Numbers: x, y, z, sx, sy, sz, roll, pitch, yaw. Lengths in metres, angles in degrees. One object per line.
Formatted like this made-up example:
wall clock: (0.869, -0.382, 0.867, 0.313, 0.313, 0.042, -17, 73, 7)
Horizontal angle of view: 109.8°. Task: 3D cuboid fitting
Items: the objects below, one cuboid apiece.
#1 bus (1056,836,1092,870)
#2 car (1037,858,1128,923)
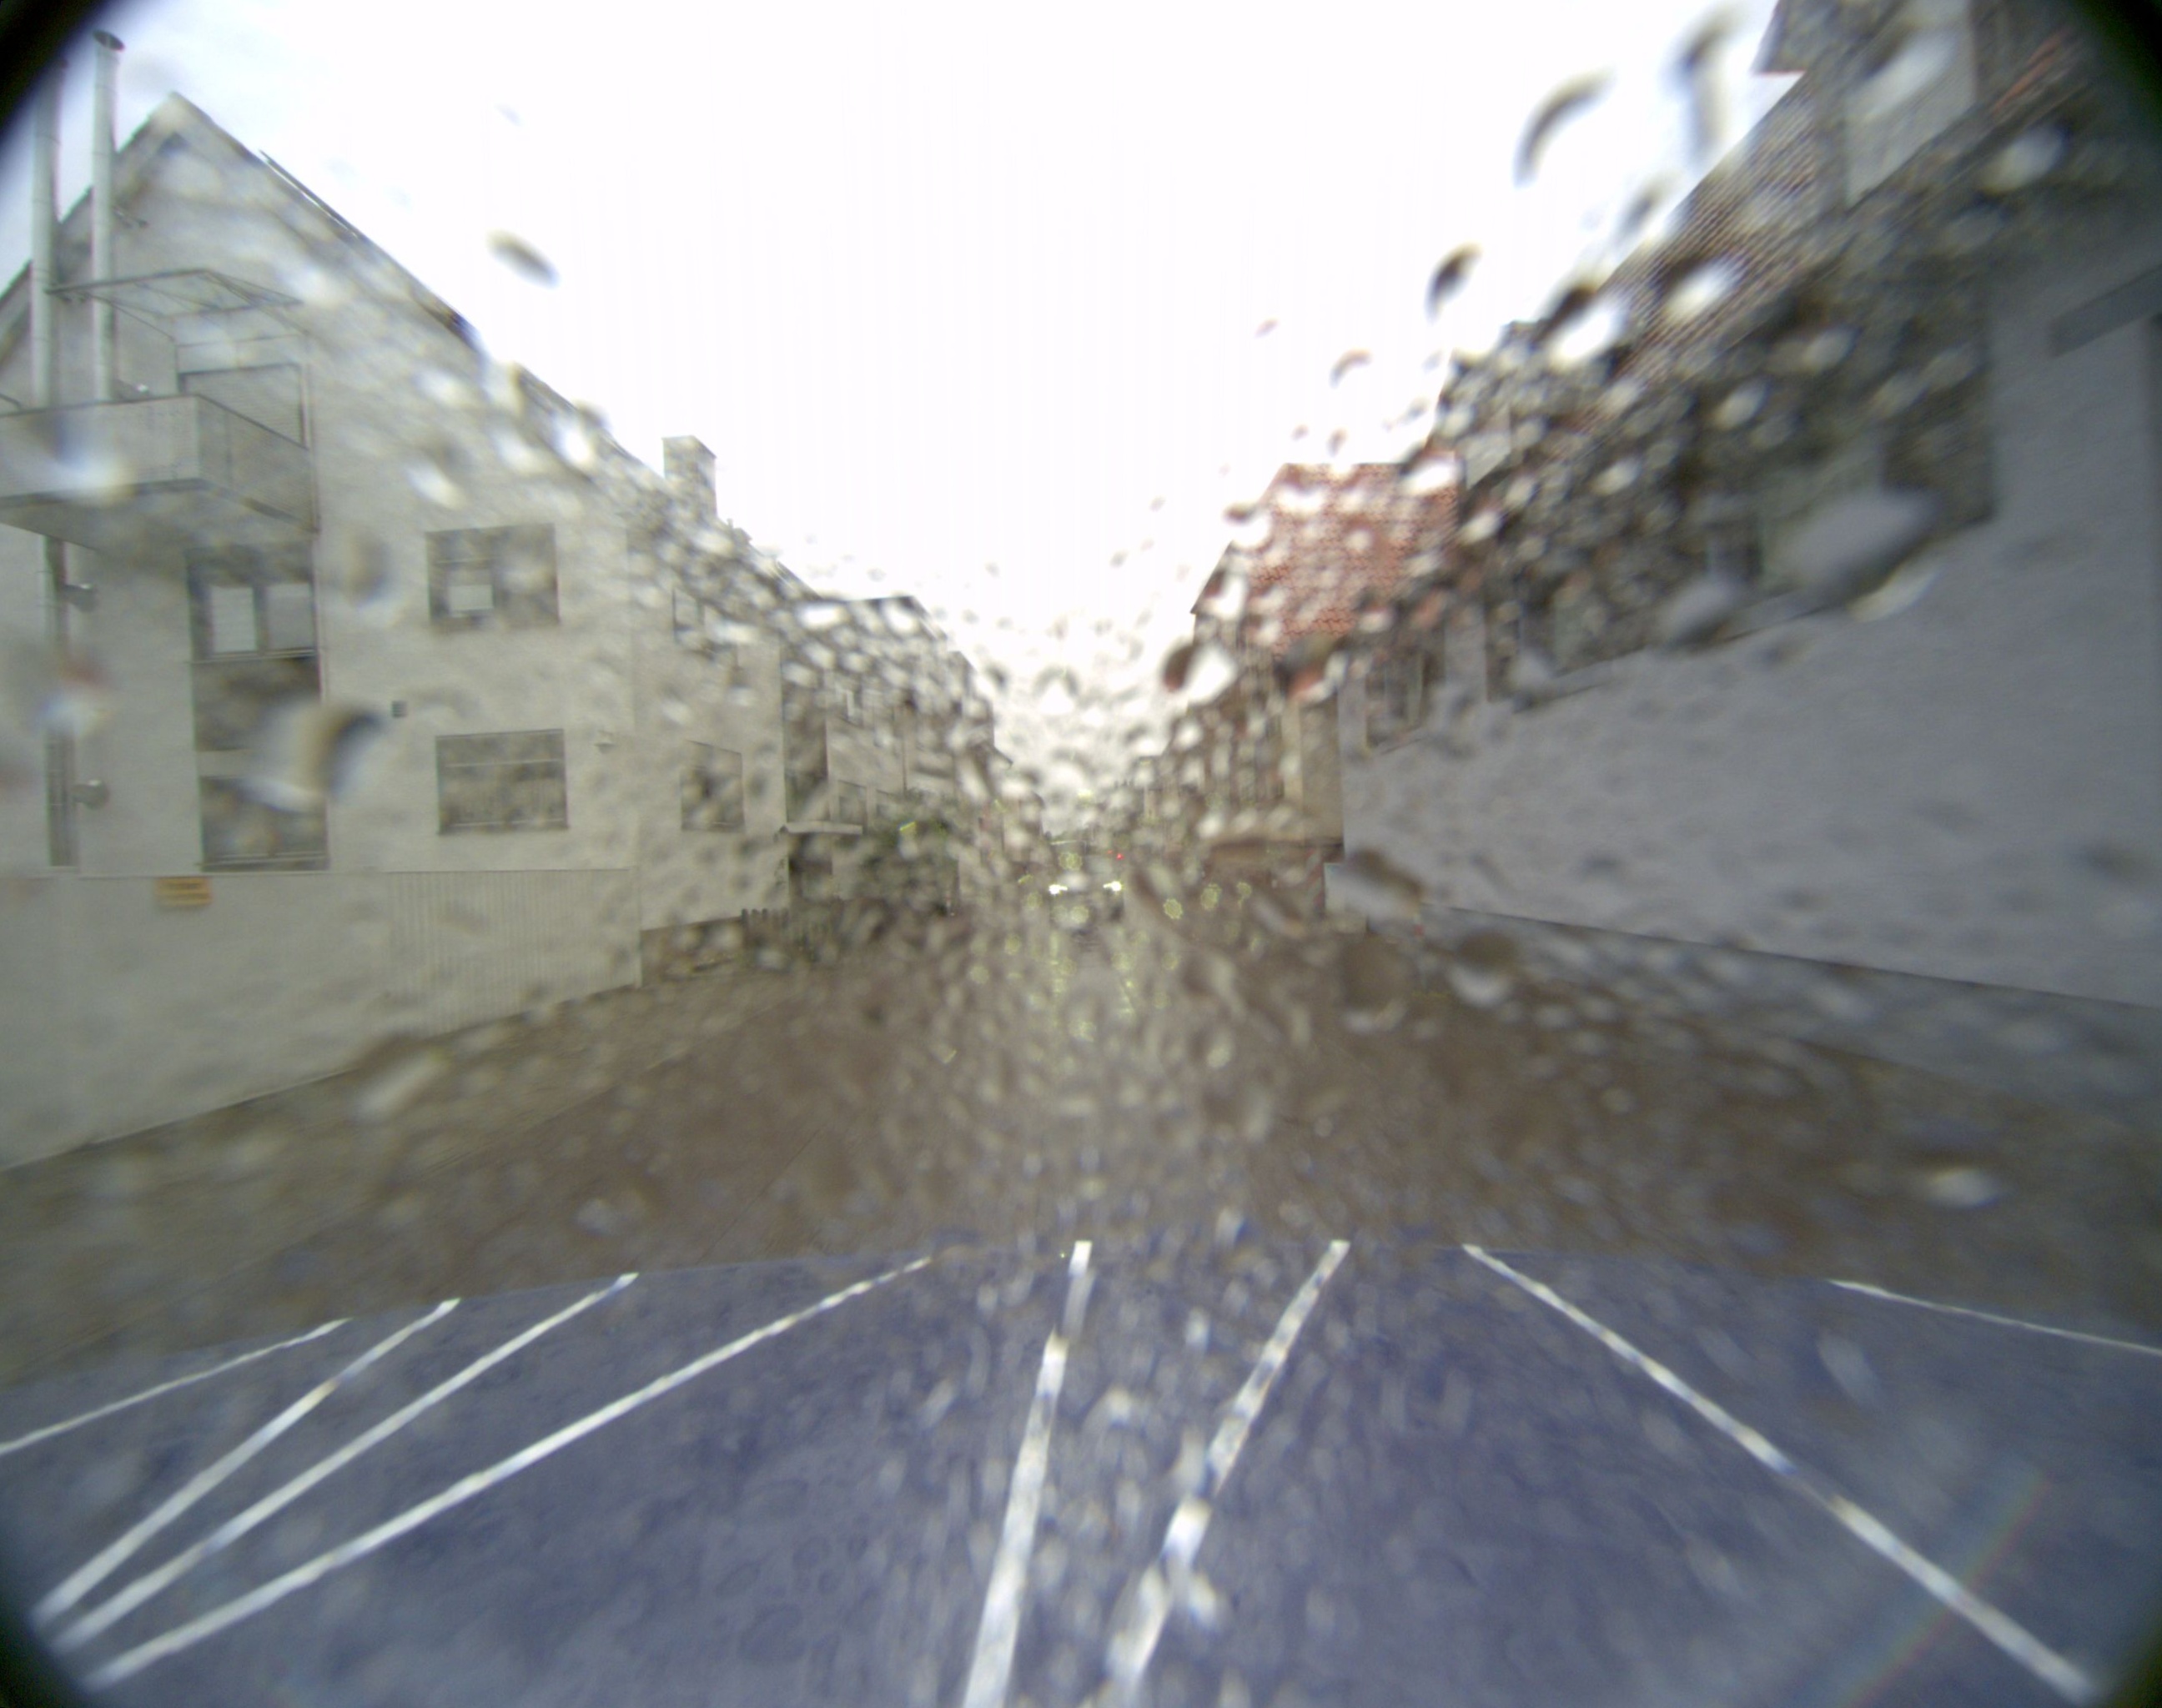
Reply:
bus: (-0.946, -0.150, 88.234, 2.894, 3.589, 11.973, -3, 0, -6)
car: (0.139, 0.841, 19.087, 1.800, 1.342, 3.739, -3, 1, 7)
